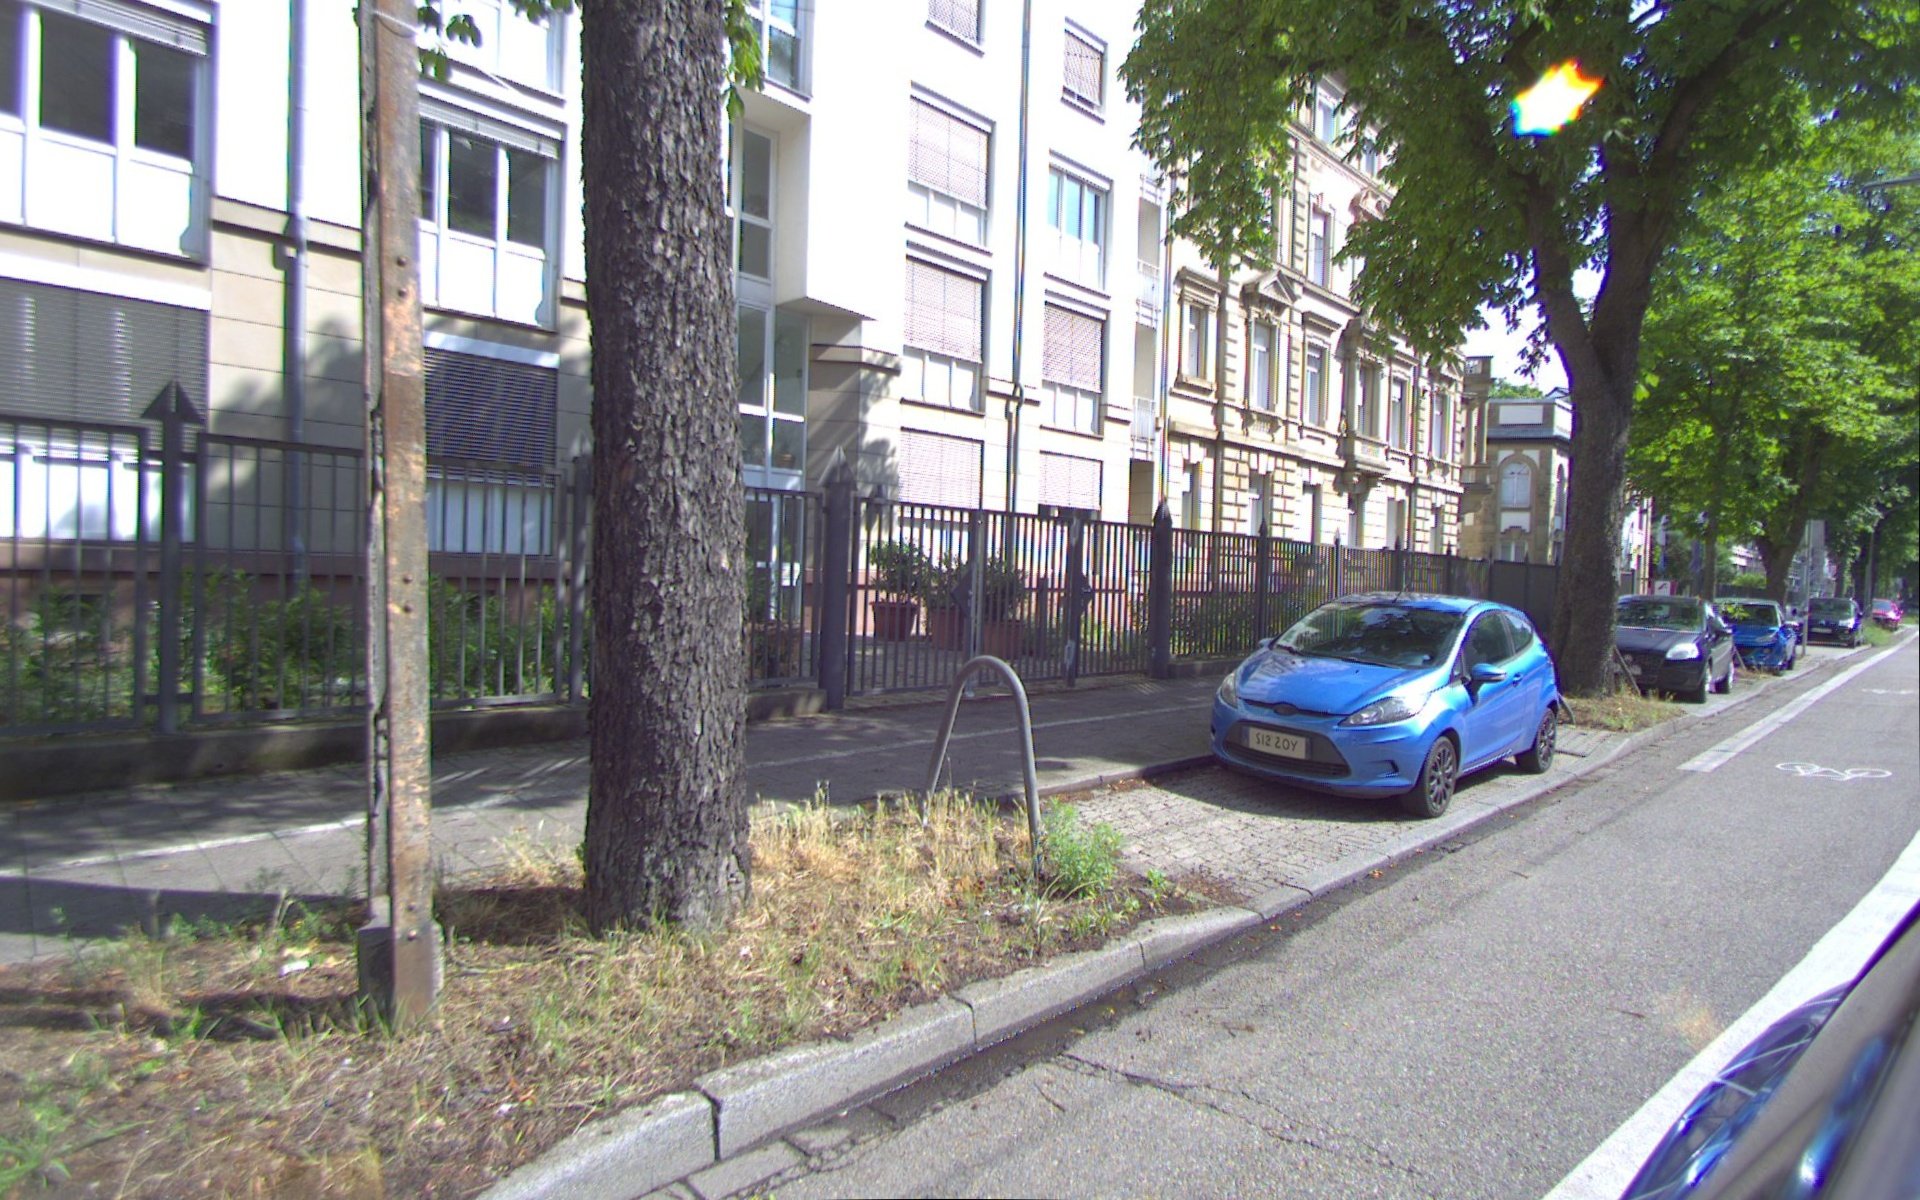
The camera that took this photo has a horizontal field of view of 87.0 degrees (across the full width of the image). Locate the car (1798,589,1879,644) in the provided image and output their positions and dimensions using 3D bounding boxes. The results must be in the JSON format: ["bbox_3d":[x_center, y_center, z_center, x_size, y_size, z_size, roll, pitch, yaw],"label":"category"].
[{"bbox_3d":[29.431,0.500,33.864,1.741,1.592,3.602,7,5,44],"label":"car"}]

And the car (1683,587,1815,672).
[{"bbox_3d":[16.416,0.546,20.999,1.676,1.493,3.602,7,5,44],"label":"car"}]

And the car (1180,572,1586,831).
[{"bbox_3d":[3.514,0.613,8.099,3.601,1.493,1.644,0,5,-44],"label":"car"}]

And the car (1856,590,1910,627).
[{"bbox_3d":[45.464,0.400,49.819,1.741,1.592,3.867,7,5,44],"label":"car"}]

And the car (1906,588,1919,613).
[{"bbox_3d":[63.271,0.060,66.308,1.741,1.592,3.867,7,5,44],"label":"car"}]

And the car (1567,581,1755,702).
[{"bbox_3d":[10.669,0.536,15.303,1.676,1.493,3.602,7,5,44],"label":"car"}]
